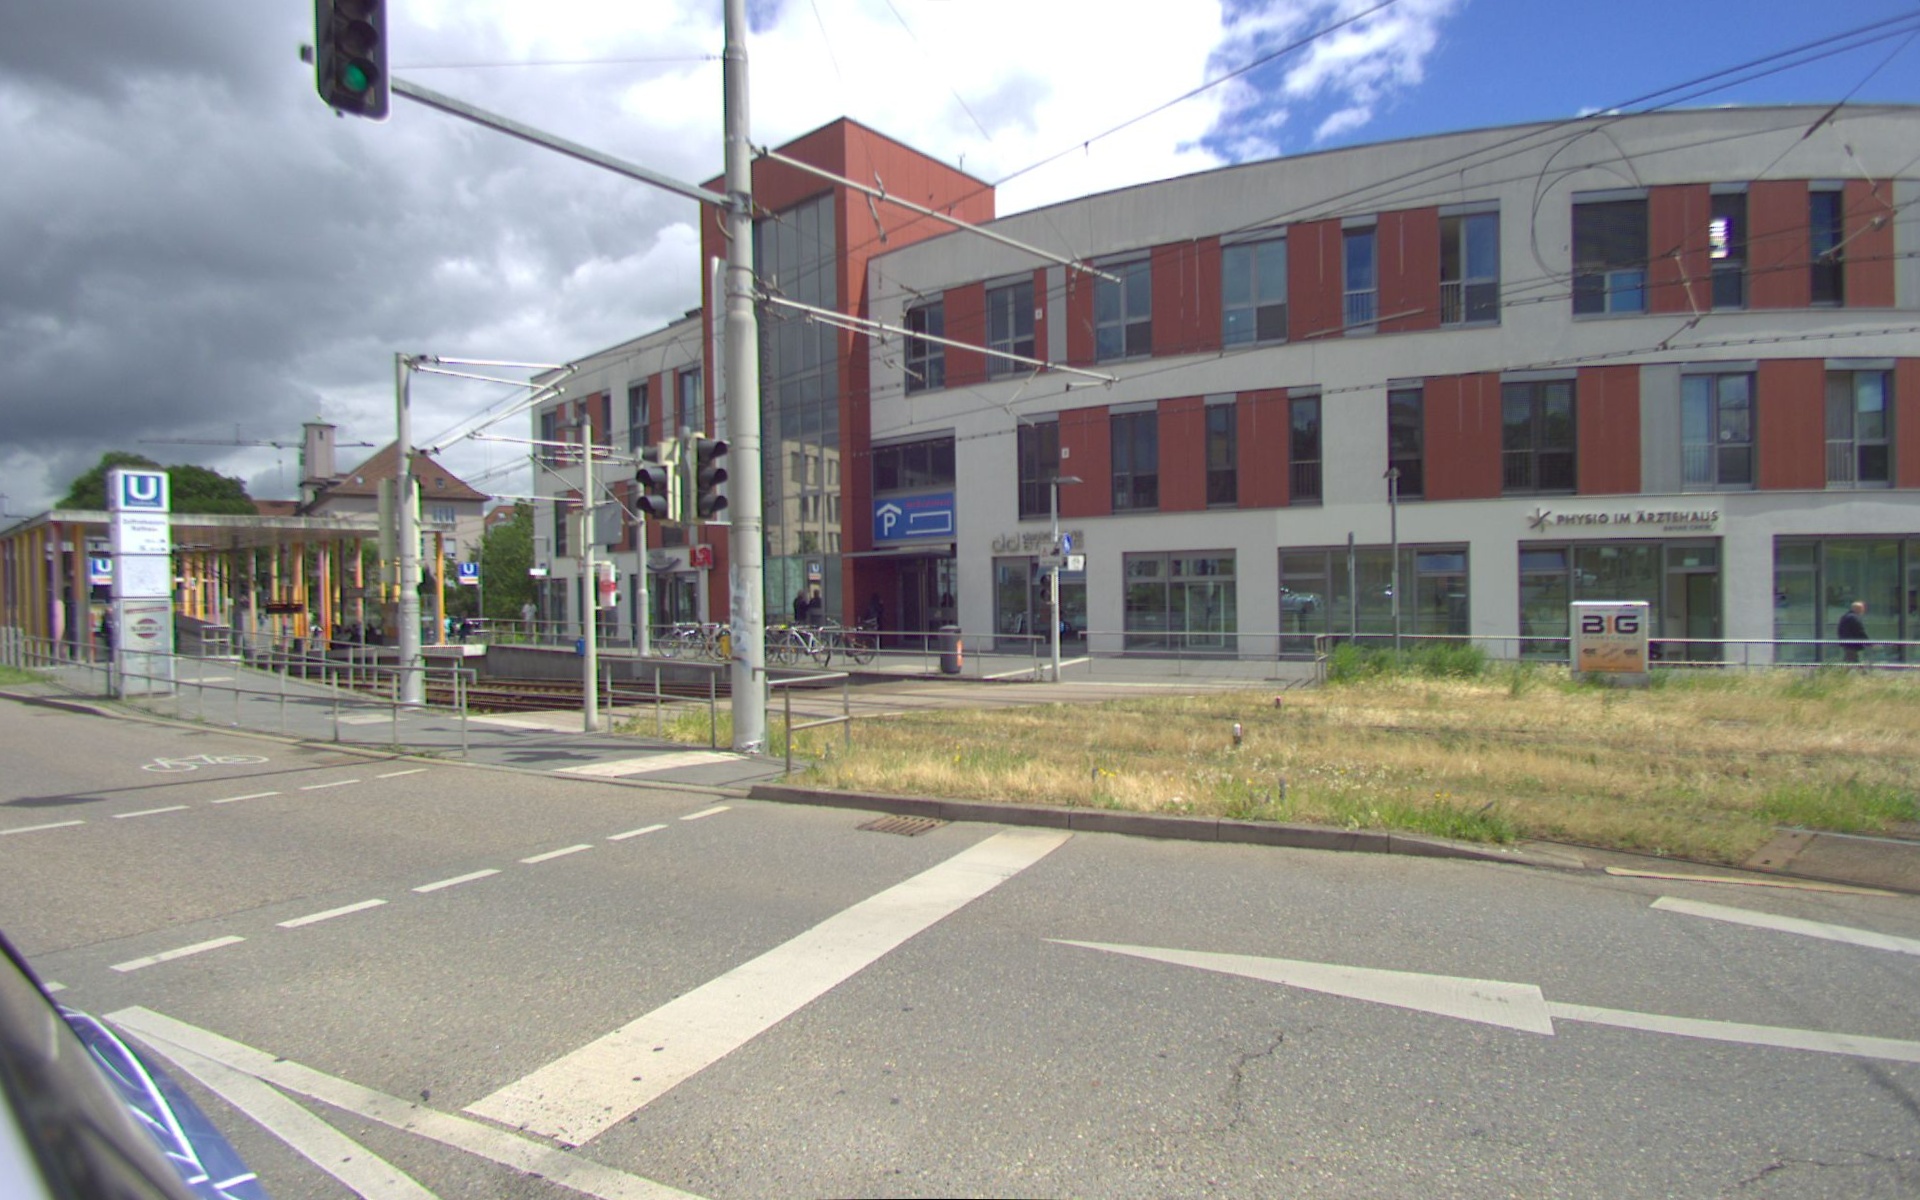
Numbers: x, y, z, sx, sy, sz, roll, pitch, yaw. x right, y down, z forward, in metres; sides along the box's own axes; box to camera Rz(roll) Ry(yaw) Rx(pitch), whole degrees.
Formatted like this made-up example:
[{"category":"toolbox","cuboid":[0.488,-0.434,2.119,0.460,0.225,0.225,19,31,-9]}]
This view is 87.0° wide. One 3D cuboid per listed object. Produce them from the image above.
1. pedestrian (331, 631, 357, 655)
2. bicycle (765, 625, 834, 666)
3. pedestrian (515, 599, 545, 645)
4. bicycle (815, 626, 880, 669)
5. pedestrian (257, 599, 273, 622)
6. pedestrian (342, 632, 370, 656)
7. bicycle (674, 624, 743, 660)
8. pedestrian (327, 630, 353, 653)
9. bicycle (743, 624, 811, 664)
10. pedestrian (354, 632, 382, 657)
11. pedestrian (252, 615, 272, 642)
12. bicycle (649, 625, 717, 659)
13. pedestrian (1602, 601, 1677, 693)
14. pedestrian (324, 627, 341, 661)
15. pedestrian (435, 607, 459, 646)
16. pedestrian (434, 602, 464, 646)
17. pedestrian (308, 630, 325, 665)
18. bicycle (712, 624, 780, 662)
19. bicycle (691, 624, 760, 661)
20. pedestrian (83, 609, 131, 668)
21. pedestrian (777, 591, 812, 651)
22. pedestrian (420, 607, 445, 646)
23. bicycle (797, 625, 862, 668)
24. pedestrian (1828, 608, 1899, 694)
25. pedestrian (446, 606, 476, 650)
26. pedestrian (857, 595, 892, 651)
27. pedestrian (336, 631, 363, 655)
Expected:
[{"category":"pedestrian","cuboid":[-30.804,2.134,50.619,0.886,1.143,0.931,-2,-1,42]},{"category":"bicycle","cuboid":[-4.052,1.136,25.701,0.454,0.942,1.837,-1,0,43]},{"category":"pedestrian","cuboid":[-18.913,0.961,44.508,1.106,1.983,0.852,0,-1,43]},{"category":"bicycle","cuboid":[-2.734,1.137,24.672,0.428,0.959,1.716,-1,0,43]},{"category":"pedestrian","cuboid":[-63.746,0.973,92.834,1.108,2.029,1.664,0,-1,-36]},{"category":"pedestrian","cuboid":[-29.397,2.128,49.266,0.886,1.143,0.931,-2,-1,42]},{"category":"bicycle","cuboid":[-6.979,1.152,28.143,1.835,0.939,0.455,0,0,-41]},{"category":"pedestrian","cuboid":[-31.472,2.119,51.341,0.886,1.143,0.931,-2,-1,42]},{"category":"bicycle","cuboid":[-4.736,1.125,26.336,0.454,0.970,1.837,-1,0,43]},{"category":"pedestrian","cuboid":[-28.548,2.128,48.791,0.886,1.143,0.931,-2,-1,42]},{"category":"pedestrian","cuboid":[-52.602,2.124,76.256,1.112,2.029,1.180,0,-2,-44]},{"category":"bicycle","cuboid":[-7.873,1.189,28.831,1.834,0.888,0.455,0,0,-41]},{"category":"pedestrian","cuboid":[15.000,1.015,22.362,1.104,1.983,0.862,0,-1,10]},{"category":"pedestrian","cuboid":[-37.626,2.630,60.653,0.761,2.029,0.616,-2,-1,34]},{"category":"pedestrian","cuboid":[-26.681,1.382,52.630,0.852,1.983,1.107,1,-1,-44]},{"category":"pedestrian","cuboid":[-23.355,1.070,46.260,1.105,1.983,0.853,0,-1,39]},{"category":"pedestrian","cuboid":[-38.199,2.812,60.063,0.773,2.029,0.610,-2,-1,34]},{"category":"bicycle","cuboid":[-5.694,1.136,26.985,1.836,0.946,0.455,0,0,-45]},{"category":"bicycle","cuboid":[-6.367,1.149,27.584,1.835,0.929,0.455,0,0,-42]},{"category":"pedestrian","cuboid":[-28.266,1.258,33.535,0.864,1.929,1.090,0,-1,42]},{"category":"pedestrian","cuboid":[-5.309,0.662,32.482,0.856,1.859,0.876,0,1,13]},{"category":"pedestrian","cuboid":[-27.229,1.365,52.219,0.852,1.983,1.107,1,-1,-44]},{"category":"bicycle","cuboid":[-3.221,1.136,25.075,0.428,0.965,1.716,-1,0,43]},{"category":"pedestrian","cuboid":[17.203,0.959,19.291,0.683,1.592,0.733,-1,-1,9]},{"category":"pedestrian","cuboid":[-22.962,1.272,46.597,1.105,1.983,0.853,0,-1,39]},{"category":"pedestrian","cuboid":[-2.624,0.705,31.076,0.920,1.711,0.791,1,-1,-16]},{"category":"pedestrian","cuboid":[-30.114,2.131,49.901,0.886,1.143,0.931,-2,-1,42]}]
